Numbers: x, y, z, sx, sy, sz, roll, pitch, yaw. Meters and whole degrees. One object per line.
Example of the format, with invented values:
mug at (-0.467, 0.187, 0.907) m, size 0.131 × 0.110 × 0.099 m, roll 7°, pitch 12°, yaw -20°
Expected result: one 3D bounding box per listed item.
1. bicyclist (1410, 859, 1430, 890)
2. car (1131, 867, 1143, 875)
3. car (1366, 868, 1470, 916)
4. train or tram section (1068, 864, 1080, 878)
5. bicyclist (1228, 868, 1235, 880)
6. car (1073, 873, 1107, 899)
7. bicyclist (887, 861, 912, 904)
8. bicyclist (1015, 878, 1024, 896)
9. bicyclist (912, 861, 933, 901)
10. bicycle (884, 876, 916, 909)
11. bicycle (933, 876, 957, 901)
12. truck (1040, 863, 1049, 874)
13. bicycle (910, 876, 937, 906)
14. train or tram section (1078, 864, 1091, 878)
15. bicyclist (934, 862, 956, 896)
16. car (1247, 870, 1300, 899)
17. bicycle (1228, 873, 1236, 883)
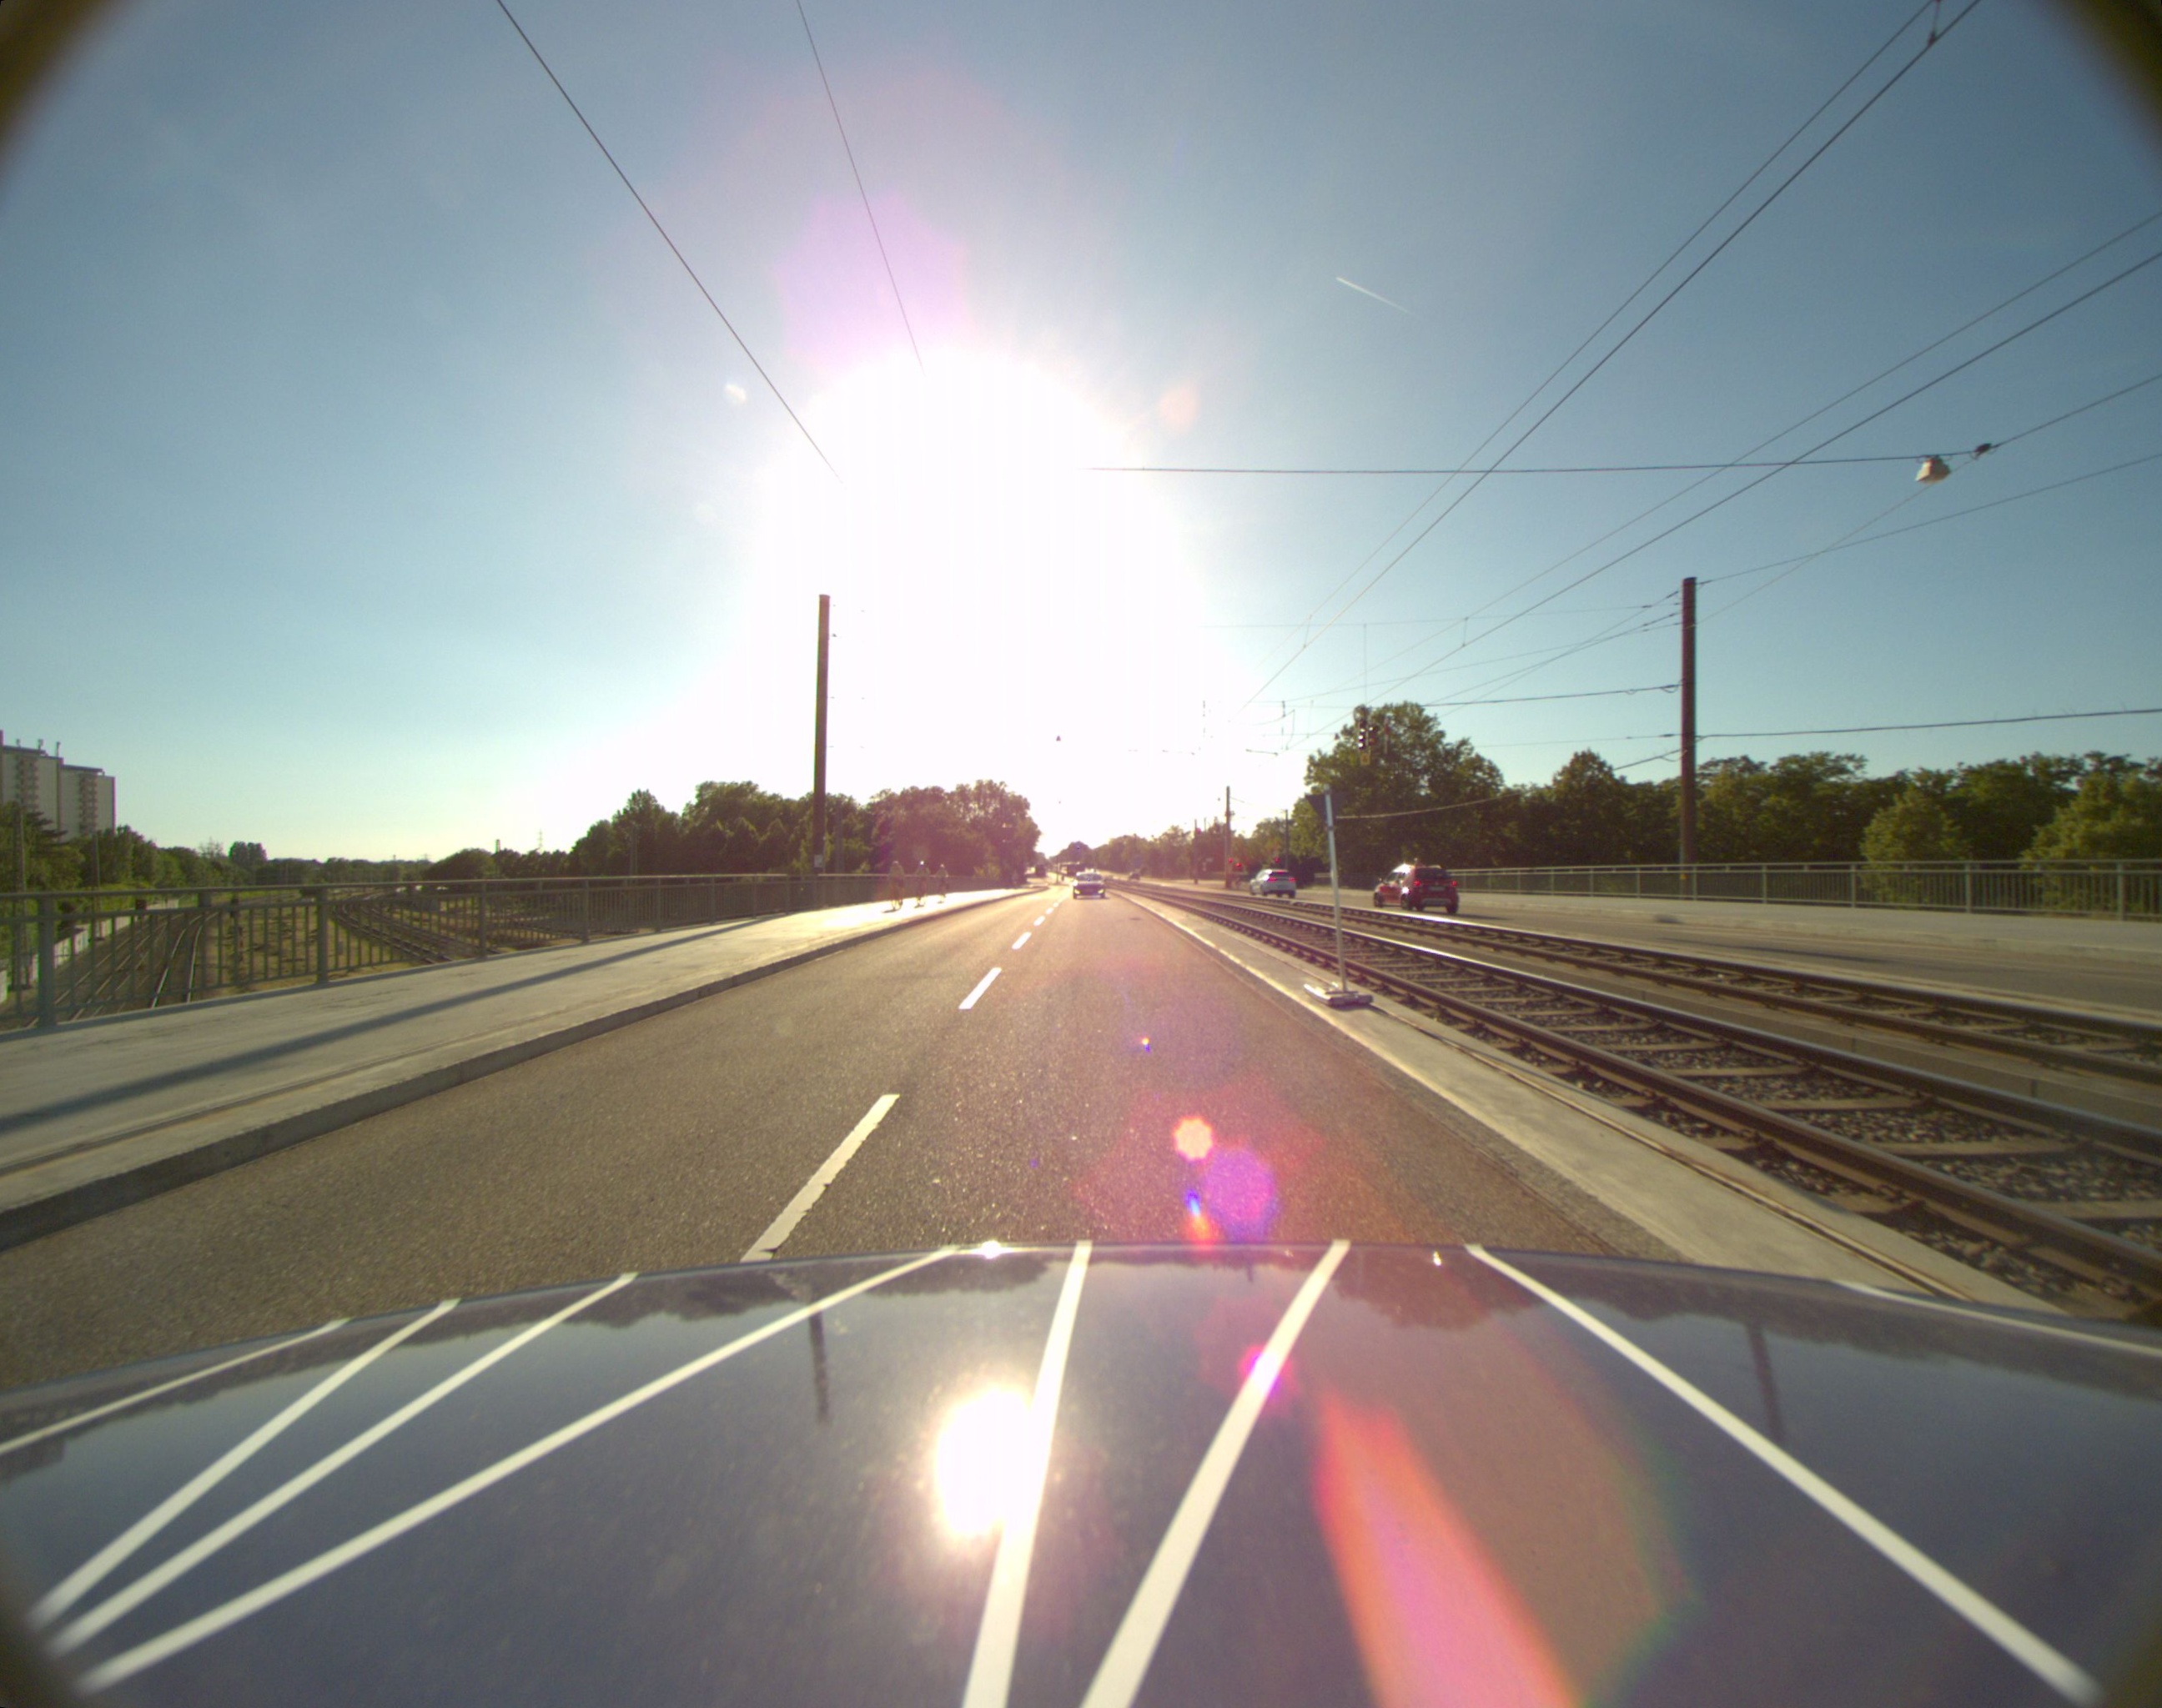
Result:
bicyclist at (17.859, 1.064, 40.020) m, size 0.627 × 1.623 × 0.935 m, roll -1°, pitch 0°, yaw -1°
car at (10.317, 3.119, 140.857) m, size 1.853 × 1.493 × 4.219 m, roll -1°, pitch -1°, yaw 0°
car at (11.434, 1.251, 26.054) m, size 1.812 × 1.510 × 4.001 m, roll 1°, pitch -1°, yaw 0°
train or tram section at (-2.106, 4.789, 213.107) m, size 2.570 × 3.877 × 11.668 m, roll -1°, pitch -1°, yaw -4°
bicyclist at (17.571, 2.314, 88.503) m, size 0.626 × 1.424 × 0.969 m, roll -1°, pitch 0°, yaw 2°
car at (0.483, 1.783, 42.981) m, size 1.802 × 1.345 × 4.000 m, roll 0°, pitch -1°, yaw 0°
bicyclist at (-6.477, 1.015, 27.192) m, size 0.627 × 1.499 × 1.006 m, roll -1°, pitch -1°, yaw -1°
bicyclist at (-5.932, 3.170, 73.022) m, size 0.733 × 1.679 × 1.202 m, roll -3°, pitch -1°, yaw -3°
bicyclist at (-6.445, 1.100, 30.895) m, size 0.626 × 1.583 × 0.931 m, roll -1°, pitch 0°, yaw 0°
bicycle at (-6.476, 1.361, 27.227) m, size 0.627 × 1.115 × 2.260 m, roll -1°, pitch -1°, yaw -1°
bicycle at (-6.238, 1.578, 34.865) m, size 0.685 × 1.115 × 2.217 m, roll -1°, pitch -2°, yaw 0°
truck at (-10.713, 4.164, 222.607) m, size 2.611 × 3.185 × 7.868 m, roll -1°, pitch -1°, yaw -4°
bicycle at (-6.399, 1.495, 30.912) m, size 0.626 × 1.116 × 2.042 m, roll -1°, pitch -1°, yaw 0°
train or tram section at (1.049, 4.854, 221.717) m, size 2.986 × 3.877 × 12.699 m, roll -1°, pitch -1°, yaw -3°
bicyclist at (-6.237, 1.155, 34.894) m, size 0.814 × 1.553 × 0.897 m, roll -1°, pitch -2°, yaw 0°
car at (11.731, 1.812, 46.689) m, size 2.006 × 1.627 × 5.091 m, roll -1°, pitch -1°, yaw 0°
bicycle at (17.583, 2.815, 88.539) m, size 0.626 × 1.116 × 2.260 m, roll -1°, pitch -1°, yaw 2°
